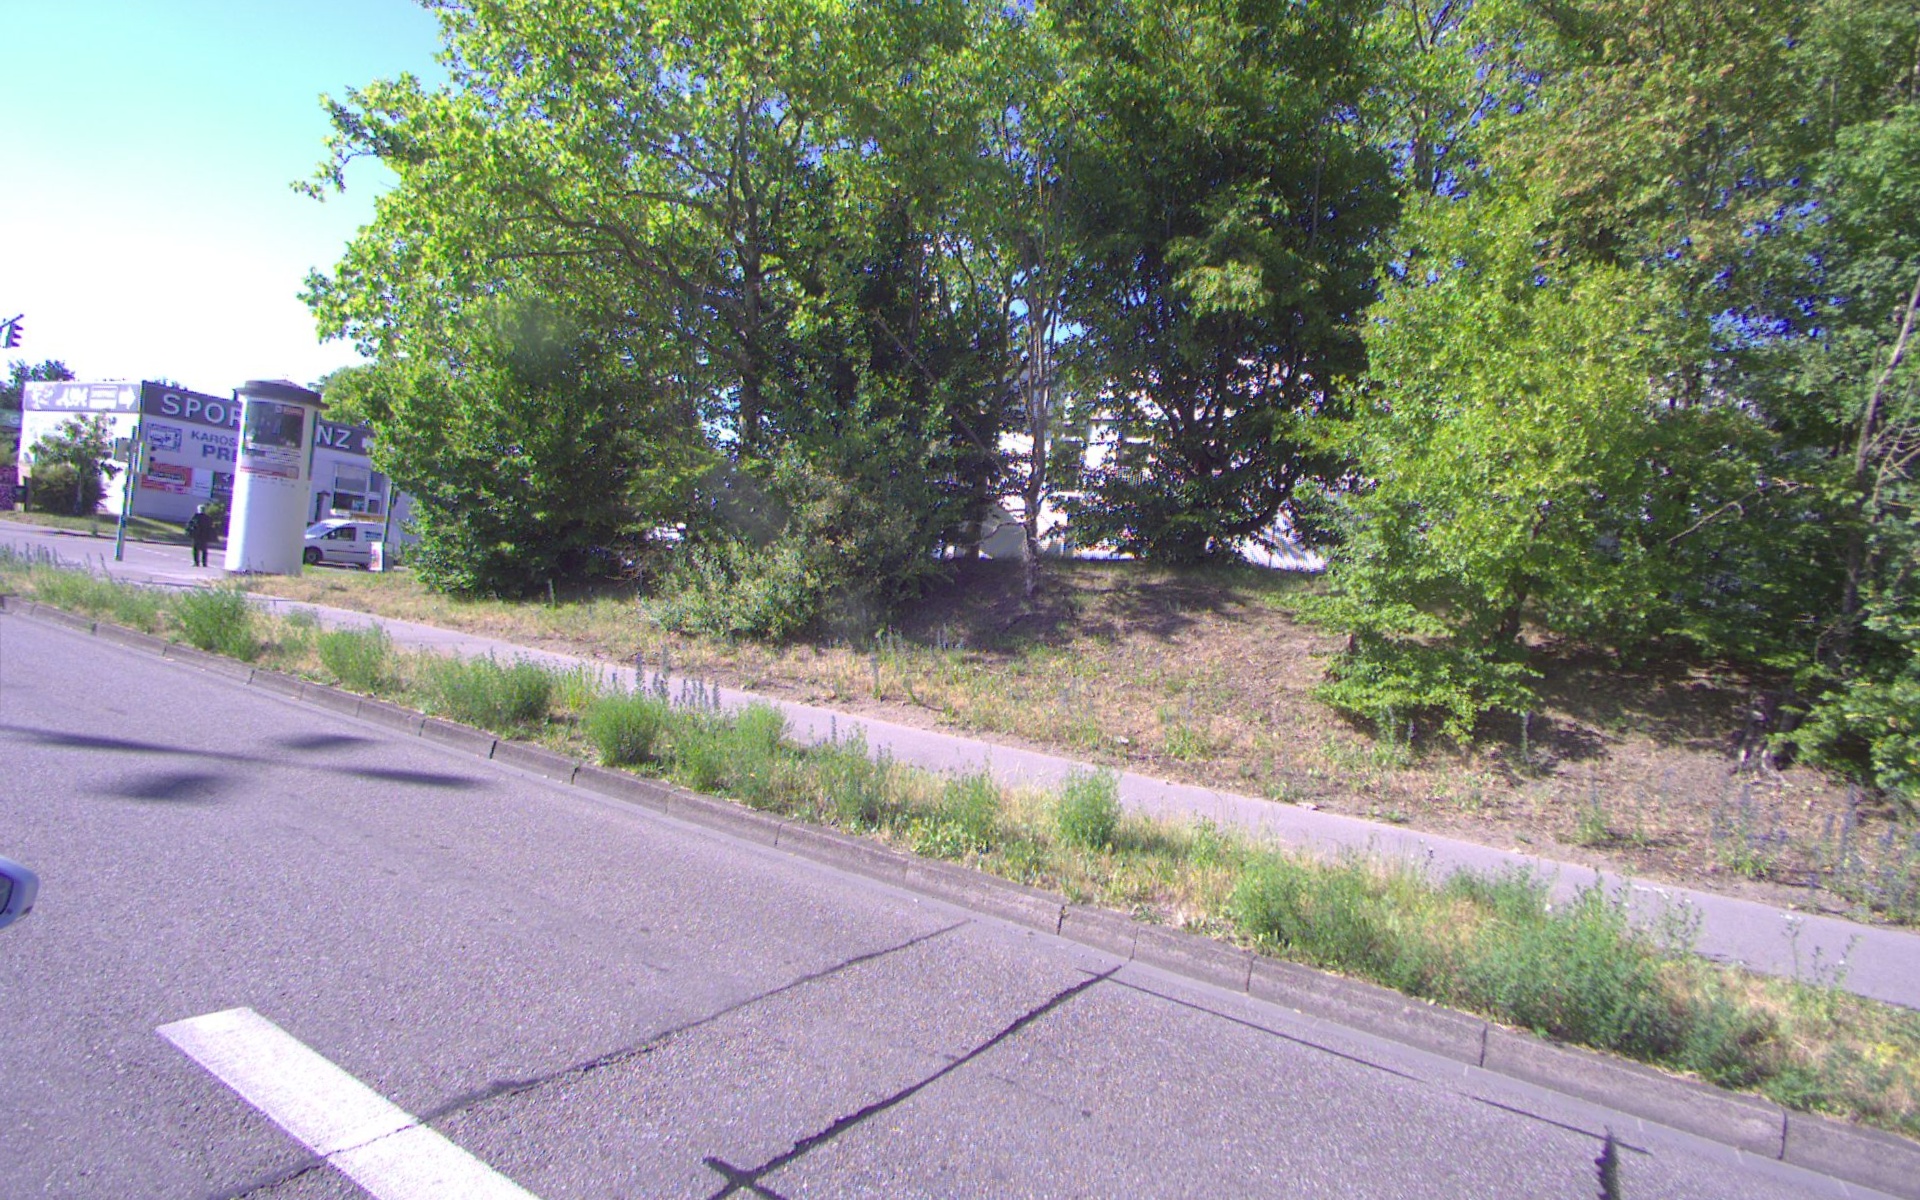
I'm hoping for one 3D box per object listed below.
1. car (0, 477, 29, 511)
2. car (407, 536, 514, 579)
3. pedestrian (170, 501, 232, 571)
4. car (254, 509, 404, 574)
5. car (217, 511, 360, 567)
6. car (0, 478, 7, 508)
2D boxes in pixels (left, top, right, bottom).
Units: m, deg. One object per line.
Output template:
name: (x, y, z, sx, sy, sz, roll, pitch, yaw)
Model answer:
car: (-46.886, -5.219, 47.093, 1.828, 1.472, 4.490, 7, 1, 33)
car: (-22.971, -1.935, 46.398, 1.752, 1.509, 4.046, 7, 1, 30)
pedestrian: (-21.119, -1.771, 27.992, 0.923, 1.755, 0.927, 6, -1, 31)
car: (-23.871, -2.181, 38.219, 1.735, 1.824, 4.387, 9, 1, 30)
car: (-26.618, -2.374, 40.013, 1.735, 1.568, 4.292, 9, 1, 30)
car: (-49.237, -5.486, 48.463, 1.828, 1.472, 4.490, 7, 1, 33)
